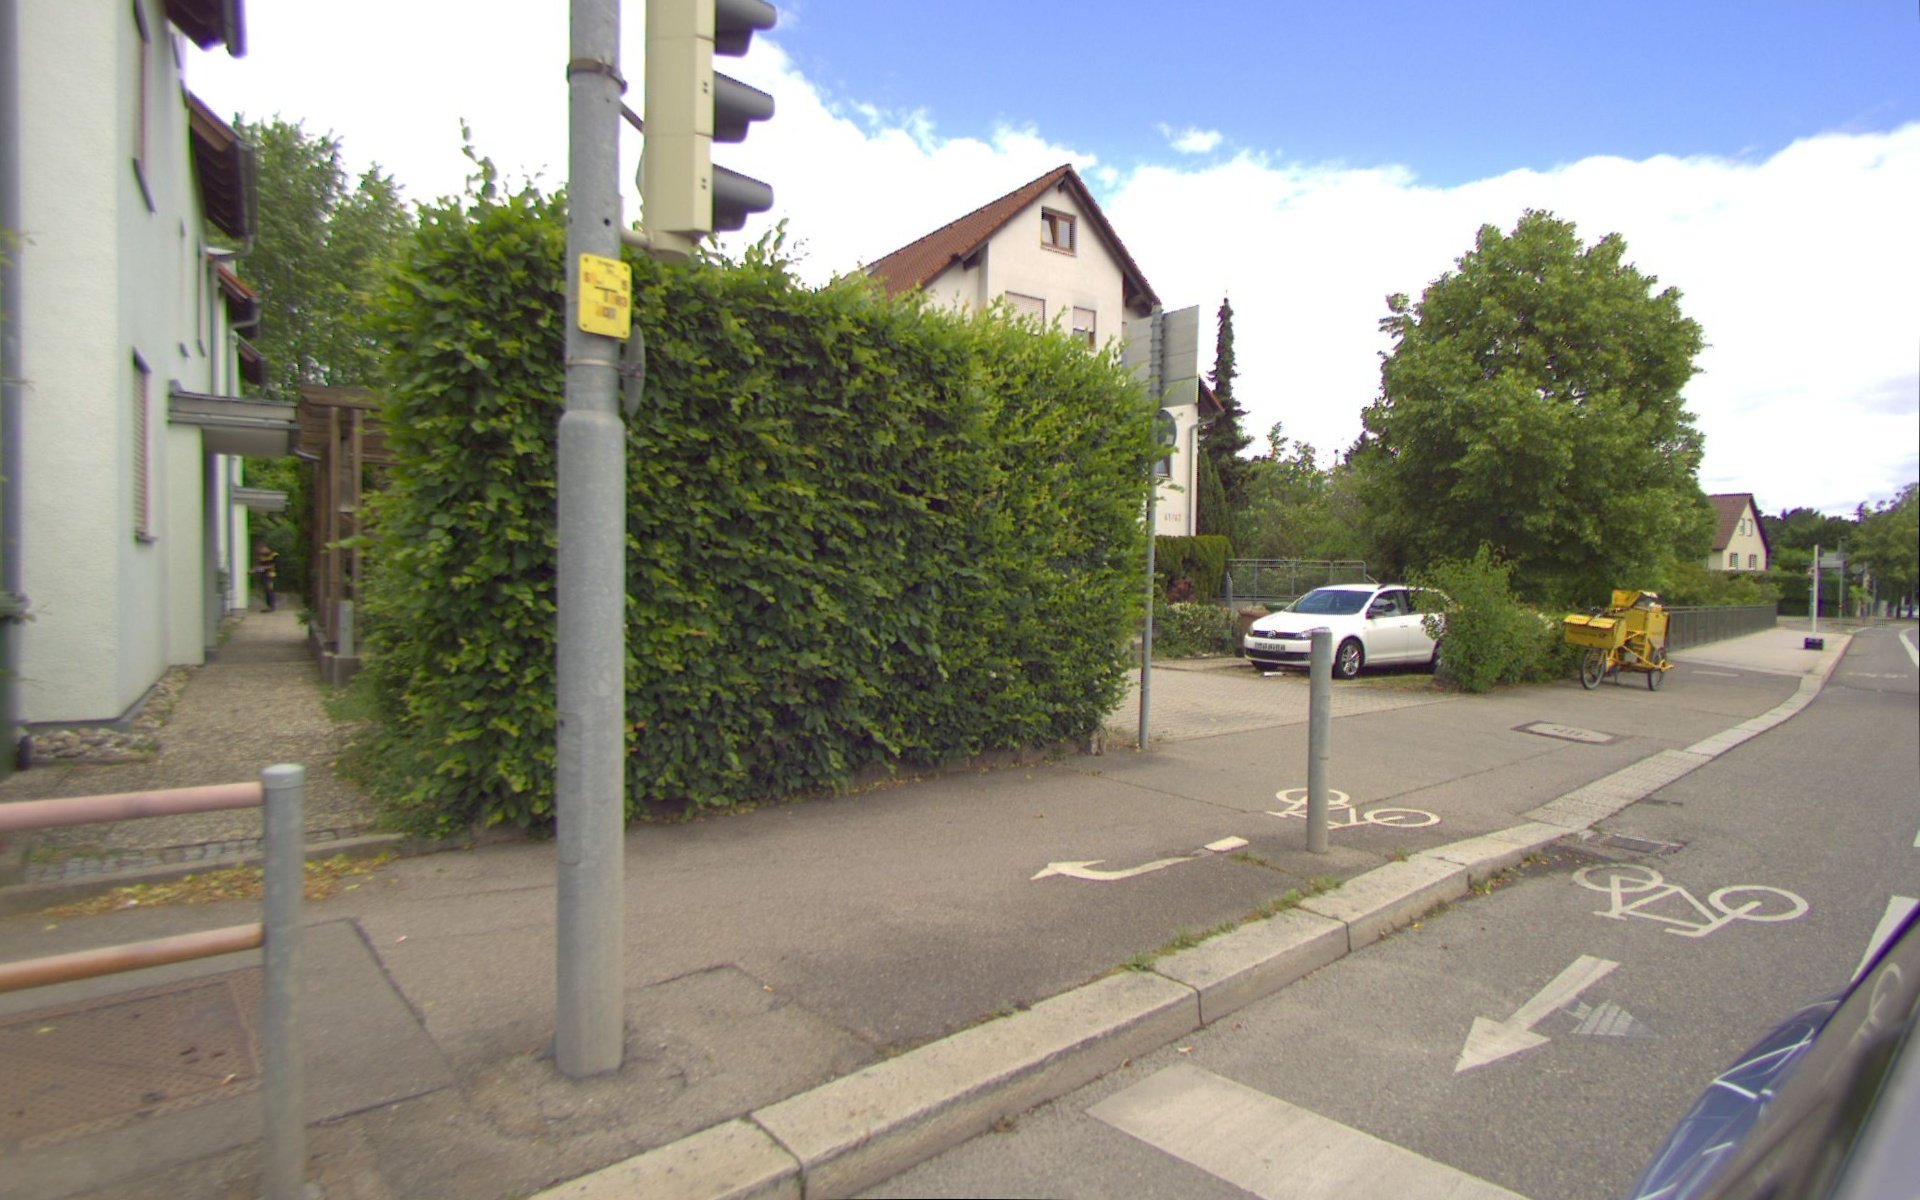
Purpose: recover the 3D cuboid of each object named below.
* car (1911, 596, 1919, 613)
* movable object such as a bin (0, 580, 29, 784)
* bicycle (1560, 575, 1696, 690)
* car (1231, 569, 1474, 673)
[{"bbox_3d":[81.063,0.407,84.876,3.478,1.367,1.561,1,3,-42],"label":"car"},{"bbox_3d":[-5.554,0.448,5.631,0.529,1.075,0.565,0,5,-41],"label":"movable object such as a bin"},{"bbox_3d":[10.080,0.452,15.221,2.734,1.528,0.894,1,5,-42],"label":"bicycle"},{"bbox_3d":[6.475,0.348,16.582,3.980,1.523,1.677,2,0,-33],"label":"car"}]
